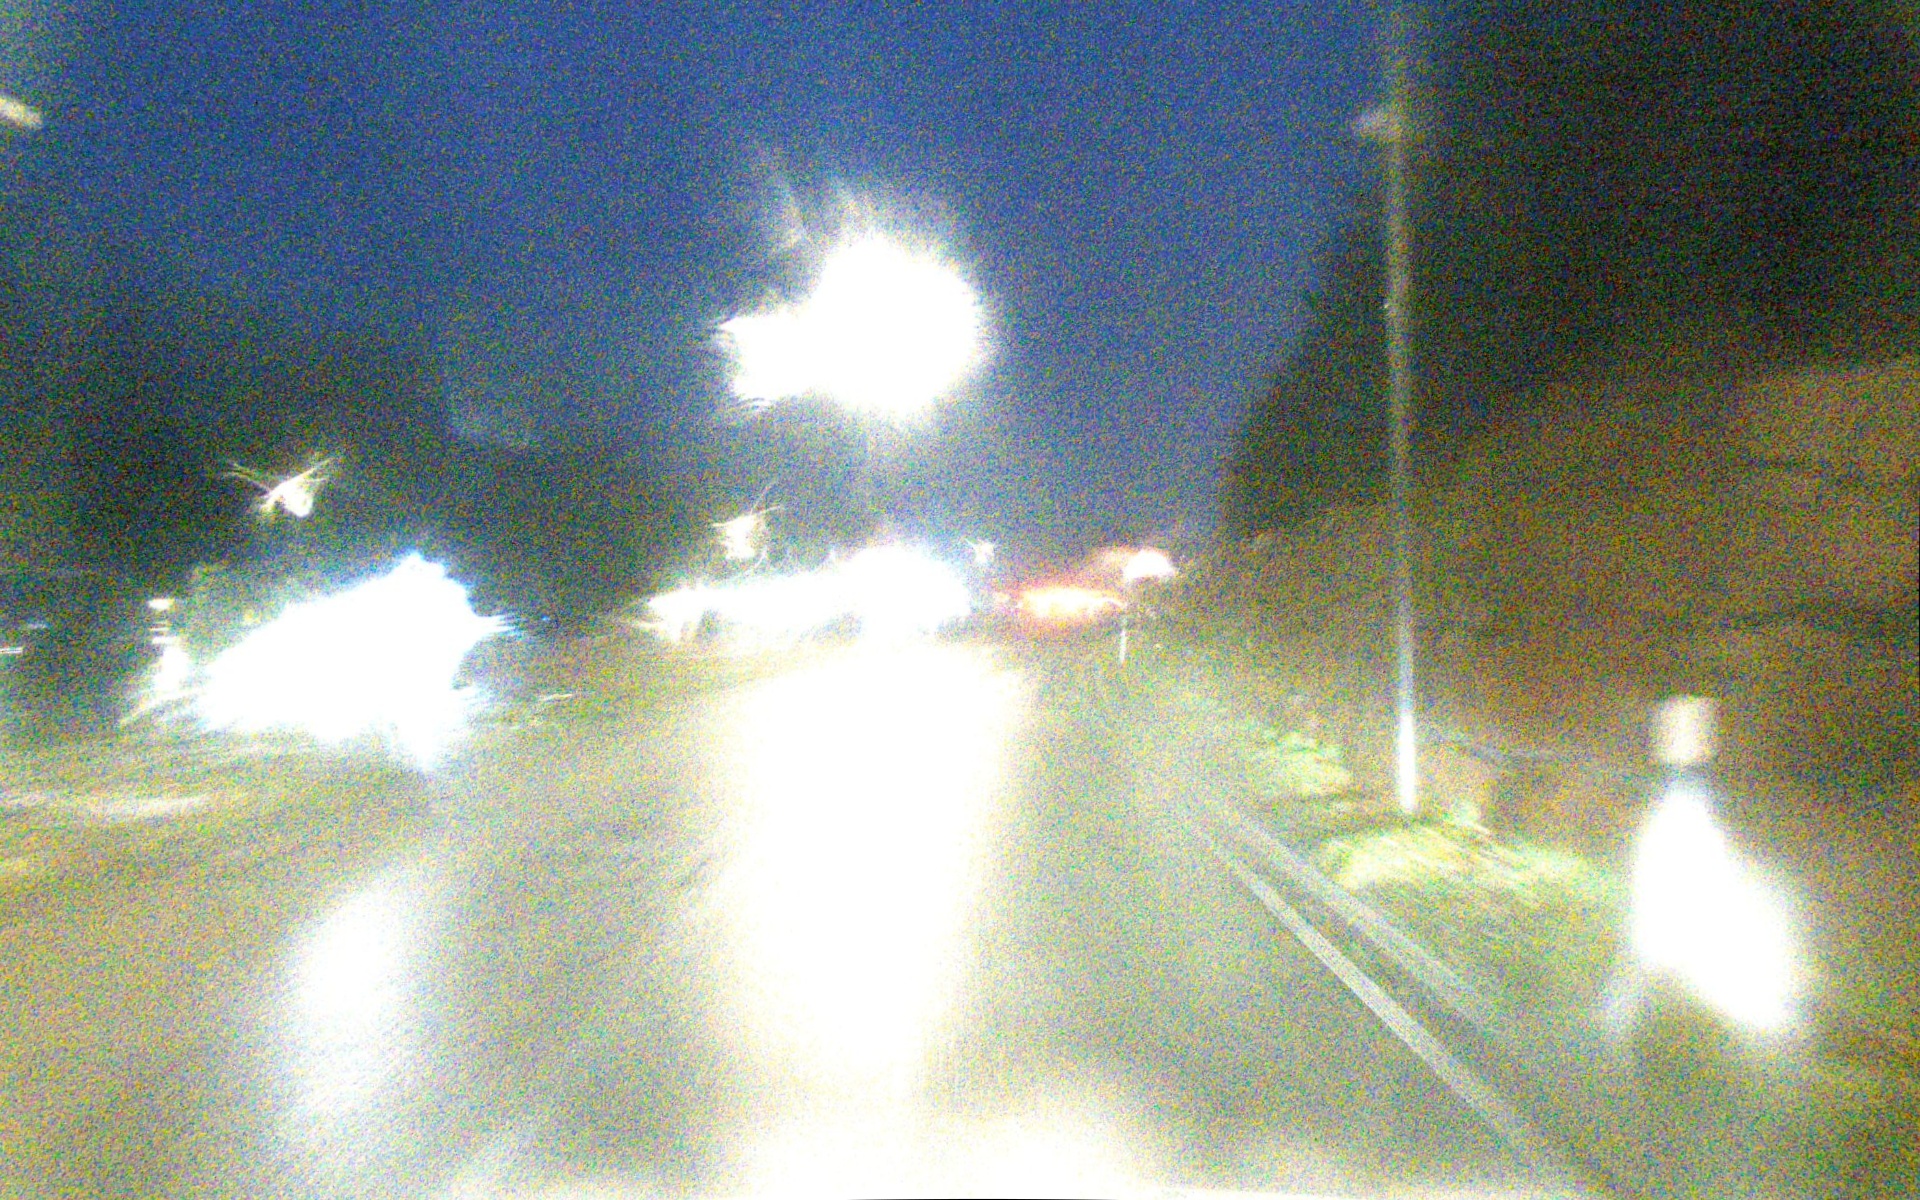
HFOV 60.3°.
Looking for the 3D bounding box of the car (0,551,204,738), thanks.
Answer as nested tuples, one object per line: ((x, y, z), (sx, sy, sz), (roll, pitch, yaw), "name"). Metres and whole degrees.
((-9.607, 0.435, 16.832), (1.681, 1.733, 4.145), (0, -1, 4), "car")

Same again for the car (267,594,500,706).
((-8.761, 0.752, 25.591), (1.672, 1.561, 4.602), (0, -1, 4), "car")
